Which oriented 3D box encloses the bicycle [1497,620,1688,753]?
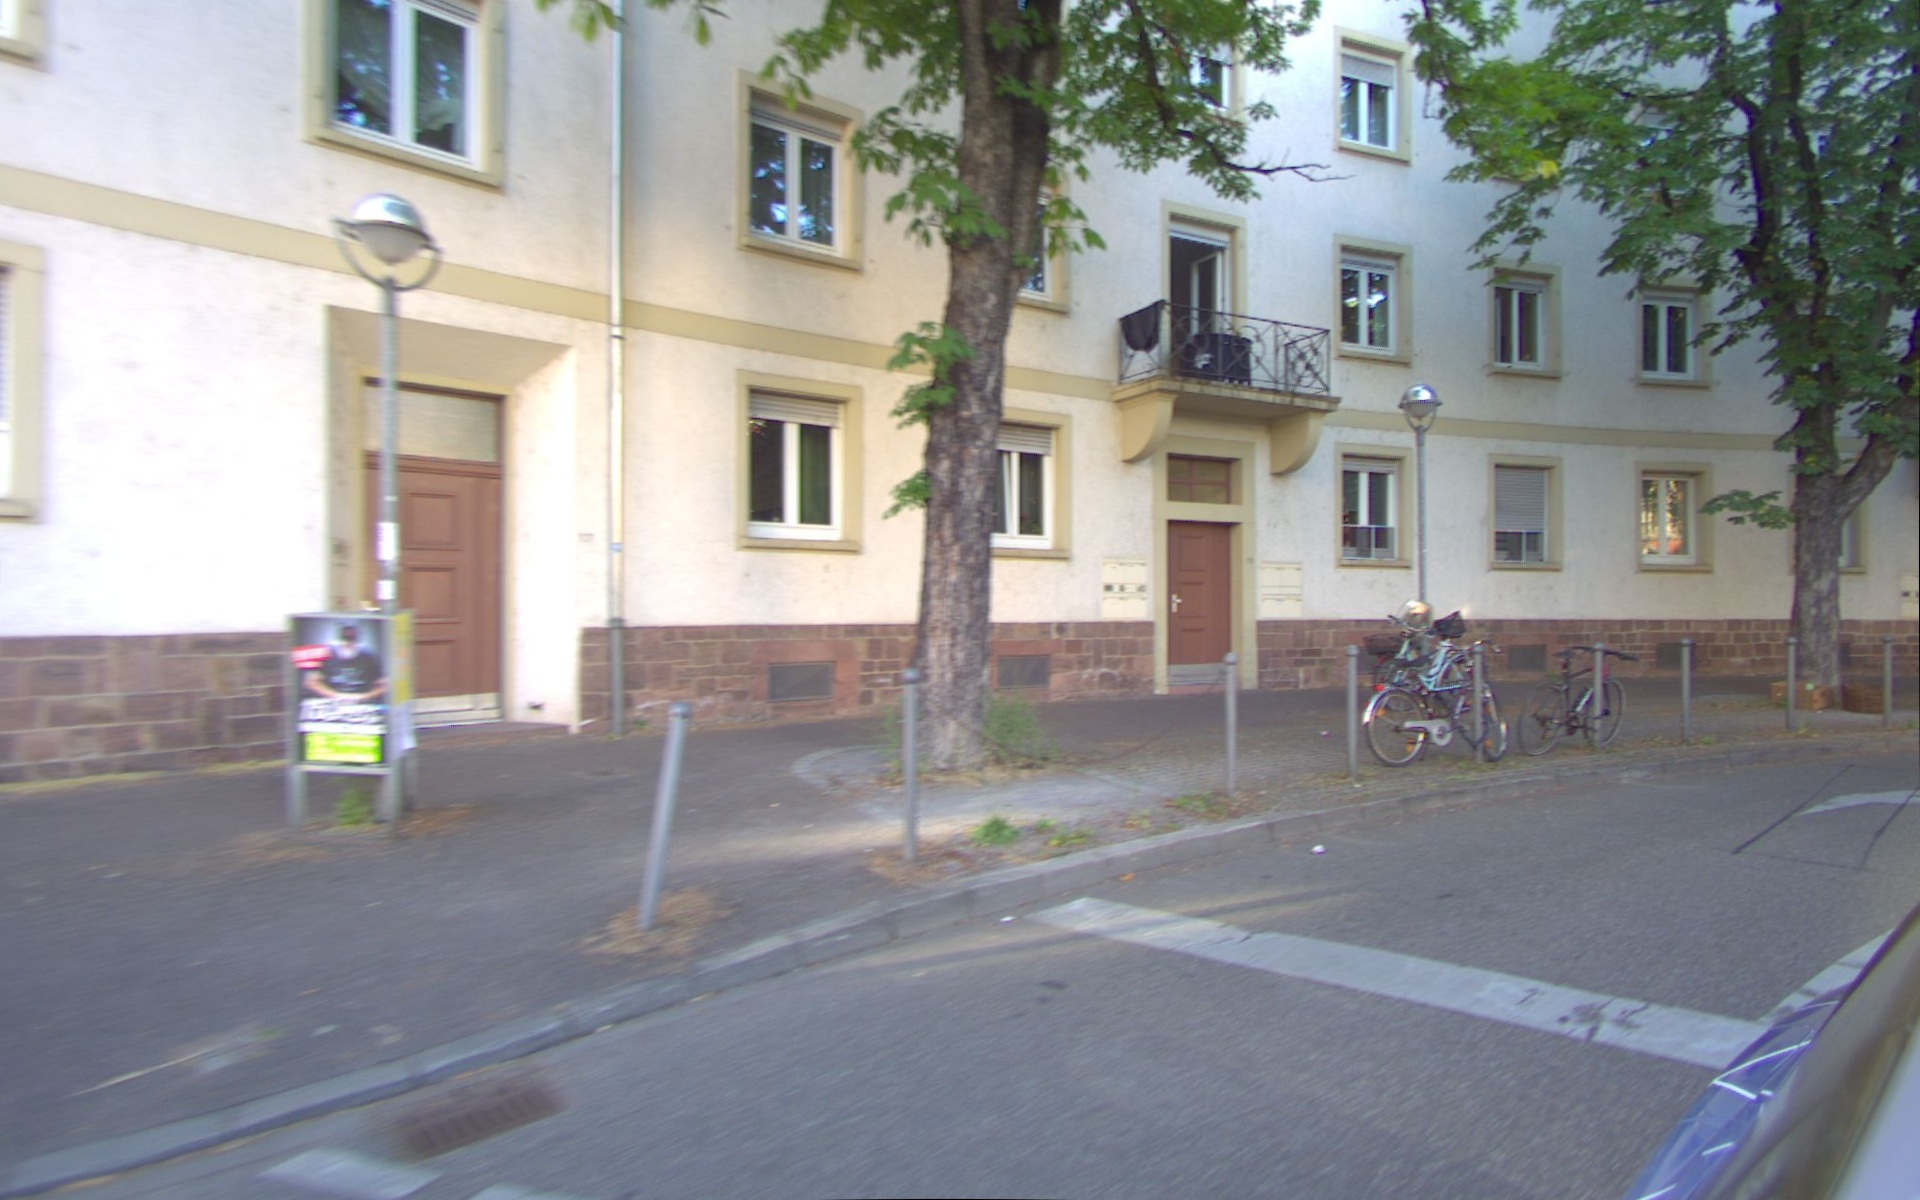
[{"bbox_3d":[5.846,0.766,9.349,1.704,1.121,0.529,0,2,-20],"label":"bicycle"}]

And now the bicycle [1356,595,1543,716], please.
[{"bbox_3d":[5.556,0.595,11.498,1.925,1.293,0.721,0,1,-17],"label":"bicycle"}]

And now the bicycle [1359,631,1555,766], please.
[{"bbox_3d":[4.292,0.822,8.745,1.601,1.077,0.483,1,2,-18],"label":"bicycle"}]

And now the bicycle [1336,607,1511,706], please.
[{"bbox_3d":[5.585,0.653,12.208,1.925,1.121,0.670,0,-1,-15],"label":"bicycle"}]
